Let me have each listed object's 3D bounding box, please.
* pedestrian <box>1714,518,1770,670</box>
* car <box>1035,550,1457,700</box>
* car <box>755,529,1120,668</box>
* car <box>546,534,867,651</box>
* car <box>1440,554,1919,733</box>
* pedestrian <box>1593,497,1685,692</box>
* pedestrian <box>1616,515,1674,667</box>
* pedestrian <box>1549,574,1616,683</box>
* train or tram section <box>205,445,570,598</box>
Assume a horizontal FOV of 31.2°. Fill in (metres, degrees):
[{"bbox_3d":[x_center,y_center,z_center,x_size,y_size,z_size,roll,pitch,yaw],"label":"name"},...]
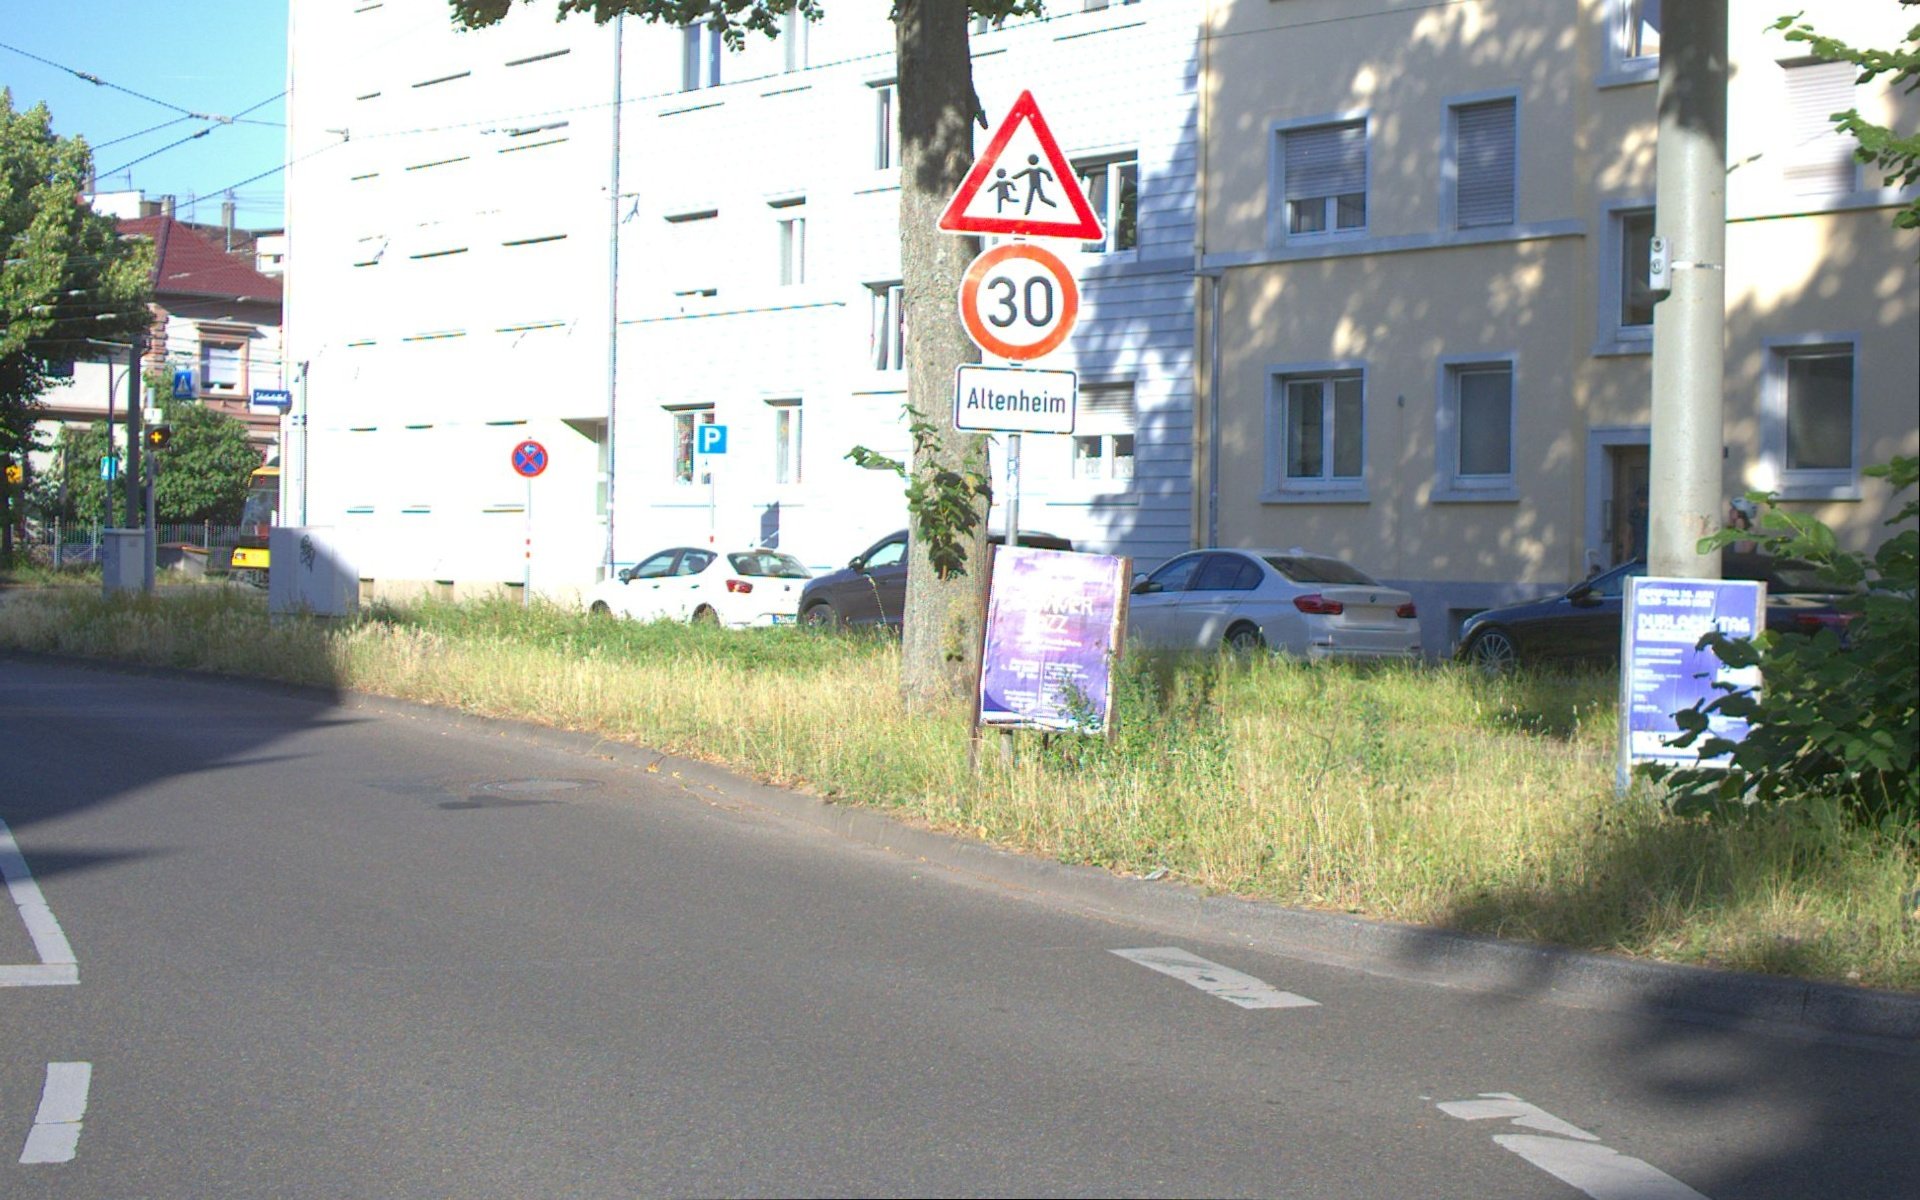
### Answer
[{"bbox_3d":[7.846,-0.064,34.502,0.304,1.509,0.443,-1,2,-43],"label":"pedestrian"},{"bbox_3d":[2.952,0.217,36.382,1.994,1.381,4.446,0,2,-36],"label":"car"},{"bbox_3d":[-0.334,-0.055,41.036,1.994,1.567,4.640,0,1,-36],"label":"car"},{"bbox_3d":[-3.393,-0.130,45.315,1.994,1.381,4.445,0,2,-39],"label":"car"},{"bbox_3d":[6.602,0.333,30.783,1.994,1.381,4.446,0,2,-36],"label":"car"},{"bbox_3d":[7.097,-0.060,35.936,0.612,2.007,0.649,1,1,-36],"label":"pedestrian"},{"bbox_3d":[6.859,-0.094,34.442,0.332,1.509,0.443,-1,2,-40],"label":"pedestrian"},{"bbox_3d":[6.149,0.281,33.945,0.431,1.062,0.461,1,1,-35],"label":"pedestrian"},{"bbox_3d":[-13.866,-1.846,84.314,2.781,3.543,9.901,2,1,33],"label":"train or tram section"}]
